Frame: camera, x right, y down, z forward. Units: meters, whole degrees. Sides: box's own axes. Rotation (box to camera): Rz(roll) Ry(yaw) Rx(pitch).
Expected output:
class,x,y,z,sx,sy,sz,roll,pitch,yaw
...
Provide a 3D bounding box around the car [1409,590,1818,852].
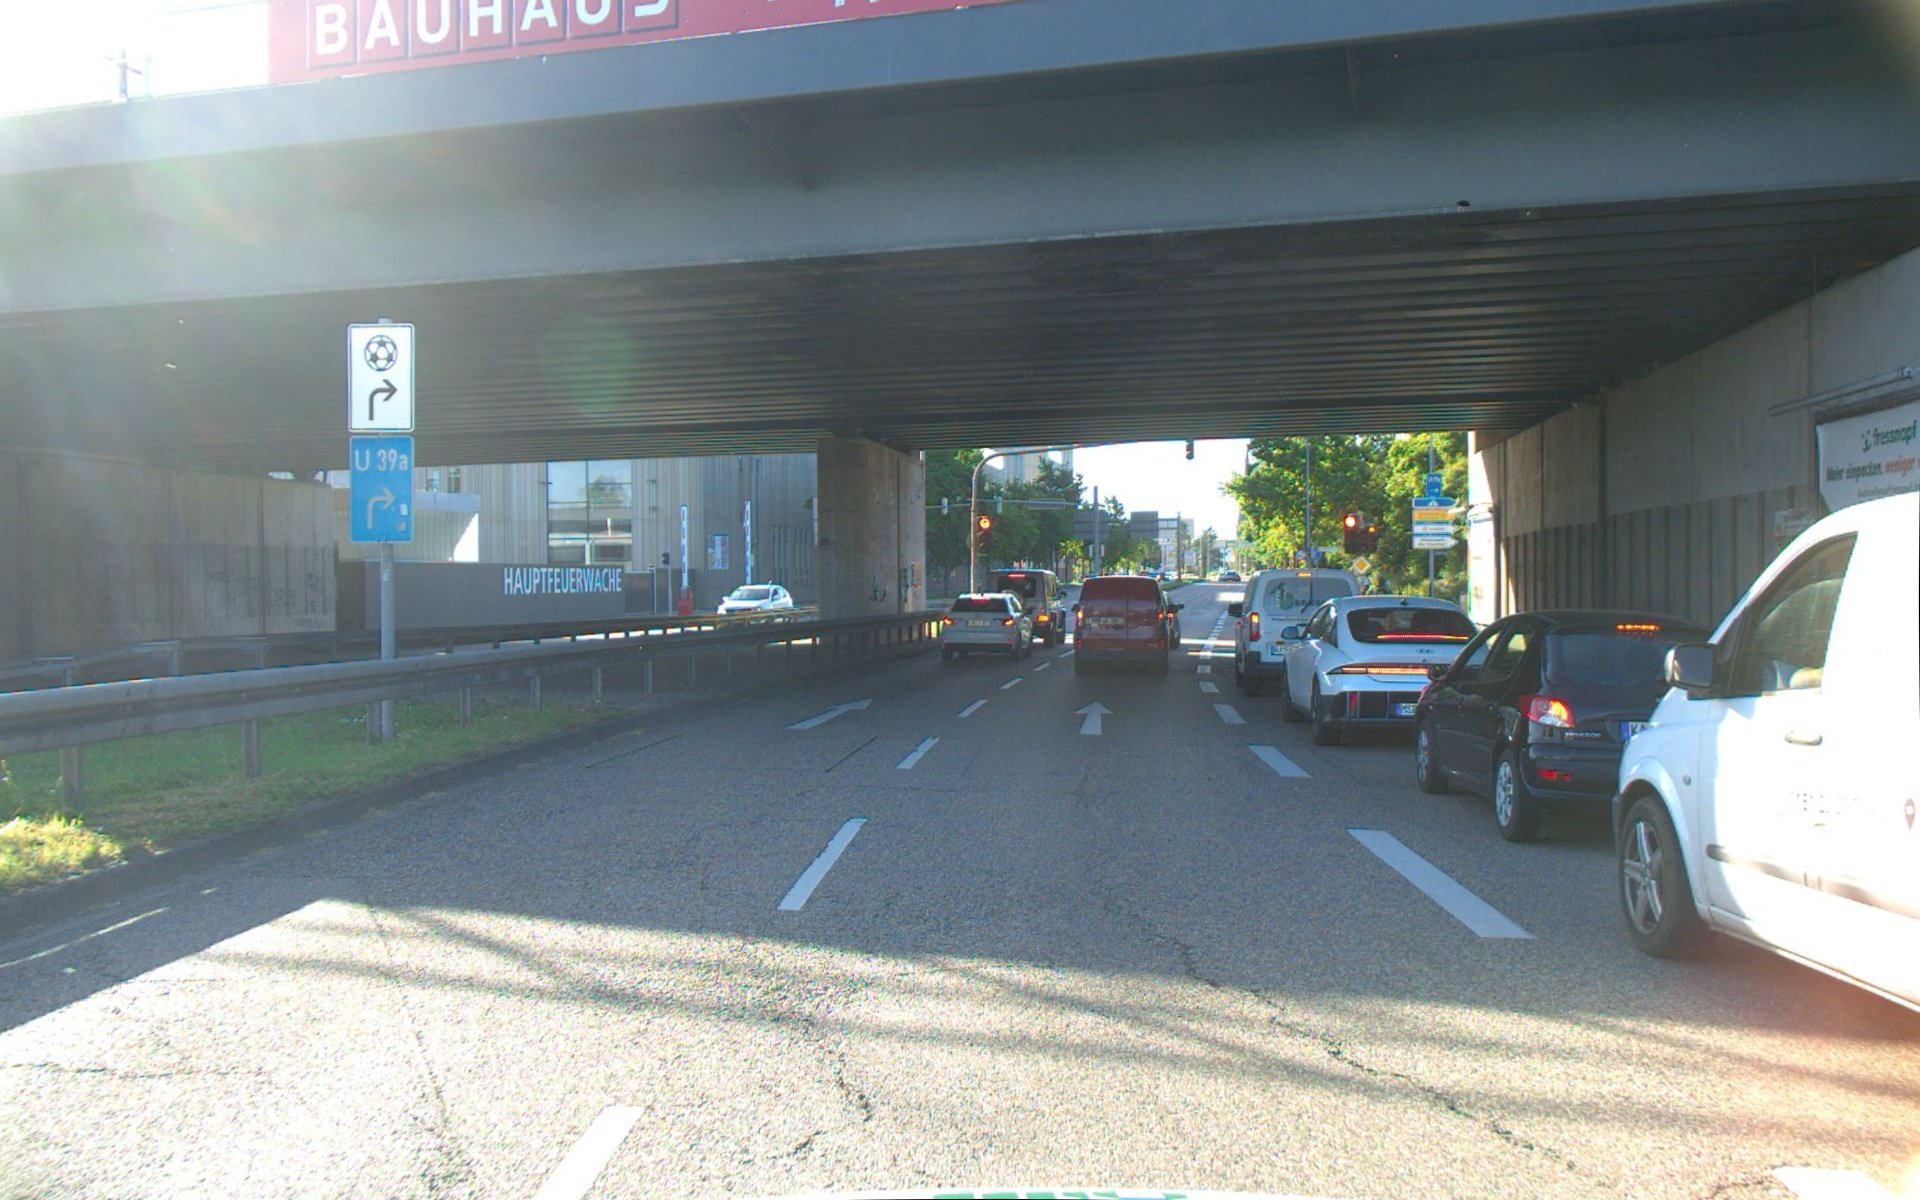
class,x,y,z,sx,sy,sz,roll,pitch,yaw
car,4.257,0.682,11.364,1.570,1.459,3.680,1,1,4

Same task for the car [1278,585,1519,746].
class,x,y,z,sx,sy,sz,roll,pitch,yaw
car,4.535,0.621,17.707,1.726,1.501,4.291,-1,0,4

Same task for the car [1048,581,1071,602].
class,x,y,z,sx,sy,sz,roll,pitch,yaw
car,9.703,-0.796,160.799,1.747,1.896,3.912,-3,0,9

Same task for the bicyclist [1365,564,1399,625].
class,x,y,z,sx,sy,sz,roll,pitch,yaw
bicyclist,11.603,-0.151,45.531,0.735,1.611,0.926,-3,0,8

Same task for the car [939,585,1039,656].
class,x,y,z,sx,sy,sz,roll,pitch,yaw
car,0.695,0.420,36.546,1.671,1.478,3.746,0,0,10

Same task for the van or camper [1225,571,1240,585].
class,x,y,z,sx,sy,sz,roll,pitch,yaw
van or camper,39.140,-3.101,237.566,1.747,1.896,3.911,-3,0,15

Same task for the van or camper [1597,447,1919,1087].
class,x,y,z,sx,sy,sz,roll,pitch,yaw
van or camper,3.834,0.488,5.172,1.918,1.916,4.881,-1,1,2

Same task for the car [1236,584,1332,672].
class,x,y,z,sx,sy,sz,roll,pitch,yaw
car,6.081,0.489,31.338,1.671,1.549,3.746,0,0,10

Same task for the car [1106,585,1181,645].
class,x,y,z,sx,sy,sz,roll,pitch,yaw
car,4.890,0.381,43.699,1.725,1.501,4.292,-1,0,9

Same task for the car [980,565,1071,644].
class,x,y,z,sx,sy,sz,roll,pitch,yaw
car,1.797,0.103,44.003,1.826,1.981,4.600,0,0,10

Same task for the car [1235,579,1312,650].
class,x,y,z,sx,sy,sz,roll,pitch,yaw
car,7.216,0.315,38.278,1.671,1.547,3.746,0,0,10

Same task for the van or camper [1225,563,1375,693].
class,x,y,z,sx,sy,sz,roll,pitch,yaw
van or camper,5.151,0.389,25.548,1.787,1.822,4.548,0,0,6

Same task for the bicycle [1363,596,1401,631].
class,x,y,z,sx,sy,sz,roll,pitch,yaw
bicycle,11.655,0.353,45.728,0.756,0.909,1.998,-3,0,7

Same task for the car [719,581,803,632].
class,x,y,z,sx,sy,sz,roll,pitch,yaw
car,-6.902,0.220,57.731,1.745,1.674,4.205,0,0,10

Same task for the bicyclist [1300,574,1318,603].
class,x,y,z,sx,sy,sz,roll,pitch,yaw
bicyclist,19.595,-0.648,92.943,0.903,1.611,0.770,-3,0,13

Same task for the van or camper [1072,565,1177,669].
class,x,y,z,sx,sy,sz,roll,pitch,yaw
van or camper,3.199,0.294,31.621,1.716,1.845,3.962,0,0,10
